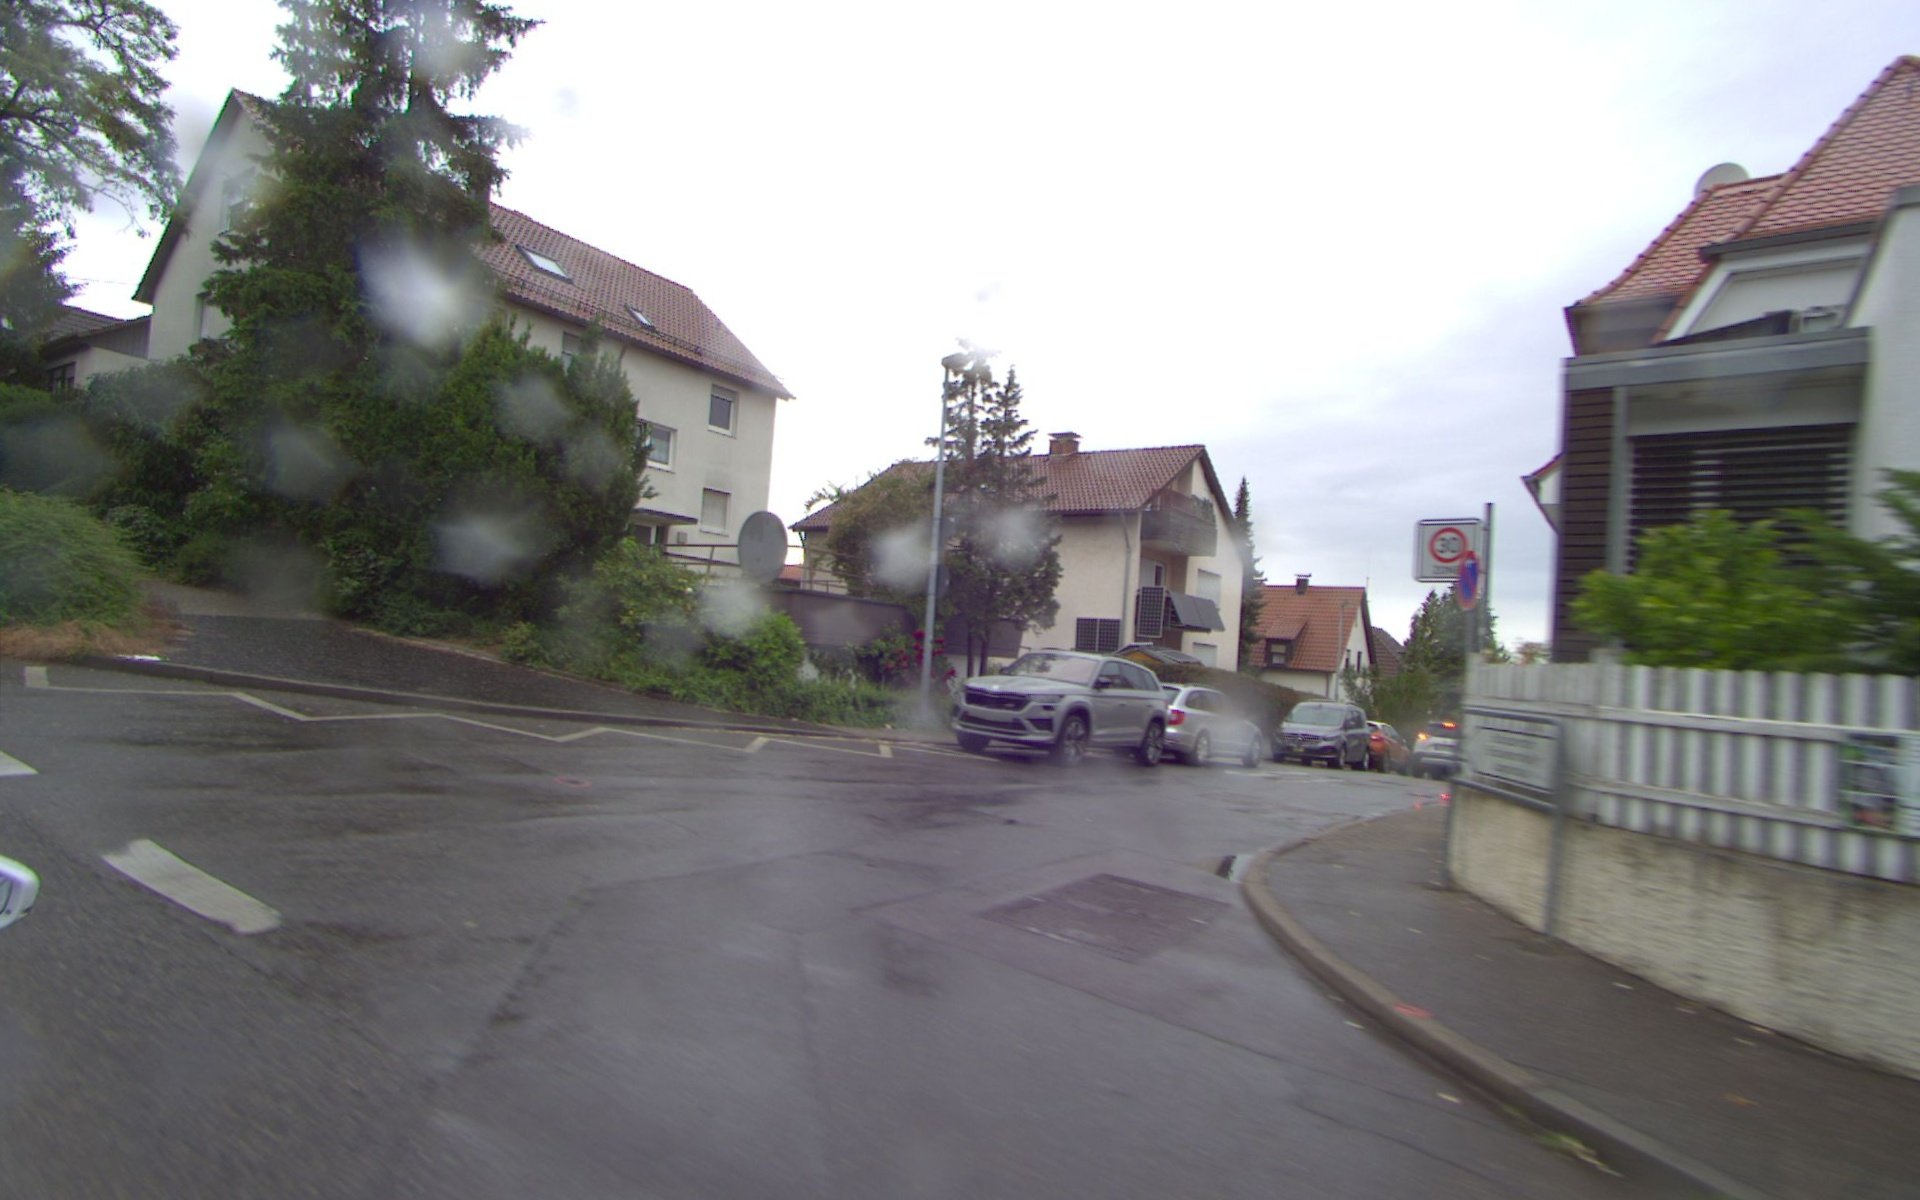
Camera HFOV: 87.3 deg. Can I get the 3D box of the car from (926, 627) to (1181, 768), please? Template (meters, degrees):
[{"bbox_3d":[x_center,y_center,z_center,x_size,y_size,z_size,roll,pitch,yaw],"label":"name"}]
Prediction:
[{"bbox_3d":[1.603,1.578,15.397,1.892,1.667,4.446,4,-6,34],"label":"car"}]

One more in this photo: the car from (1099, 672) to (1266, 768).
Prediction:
[{"bbox_3d":[4.401,2.367,19.464,1.622,1.453,3.994,3,-7,36],"label":"car"}]

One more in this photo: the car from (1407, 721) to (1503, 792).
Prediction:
[{"bbox_3d":[13.641,4.316,27.601,1.768,1.593,3.997,4,-6,34],"label":"car"}]

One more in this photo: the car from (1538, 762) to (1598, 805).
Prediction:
[{"bbox_3d":[29.172,8.809,48.223,1.971,1.678,3.993,3,-7,37],"label":"car"}]

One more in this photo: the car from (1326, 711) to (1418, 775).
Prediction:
[{"bbox_3d":[12.962,4.521,31.517,1.768,1.653,3.996,3,-6,35],"label":"car"}]

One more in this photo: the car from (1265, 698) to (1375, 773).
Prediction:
[{"bbox_3d":[9.869,3.730,27.399,1.768,1.653,3.996,3,-6,35],"label":"car"}]
